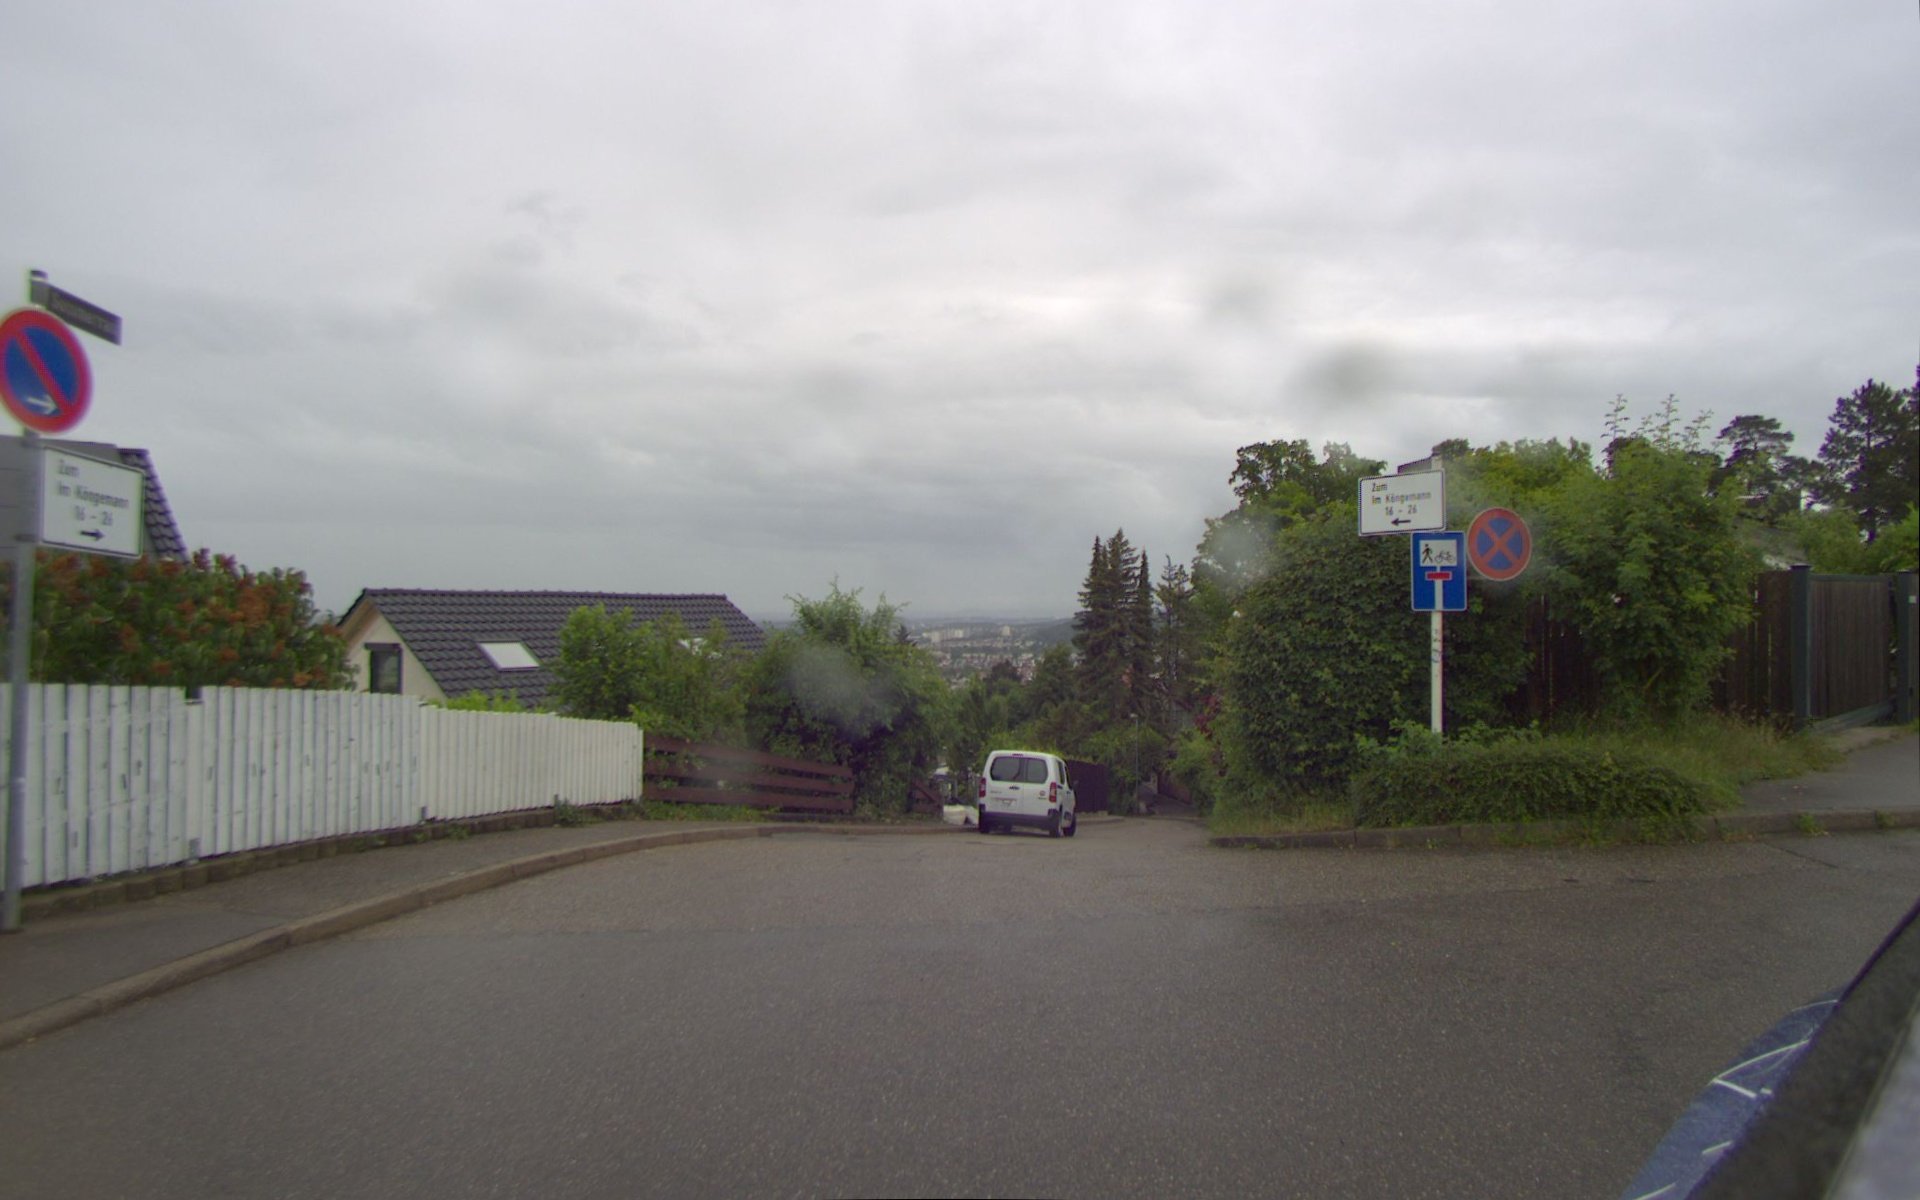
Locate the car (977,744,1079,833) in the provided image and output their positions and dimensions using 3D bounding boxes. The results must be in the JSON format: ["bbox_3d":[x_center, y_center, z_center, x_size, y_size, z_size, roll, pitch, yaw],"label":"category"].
[{"bbox_3d":[1.643,4.318,22.963,1.728,1.766,3.980,0,-12,12],"label":"car"}]
